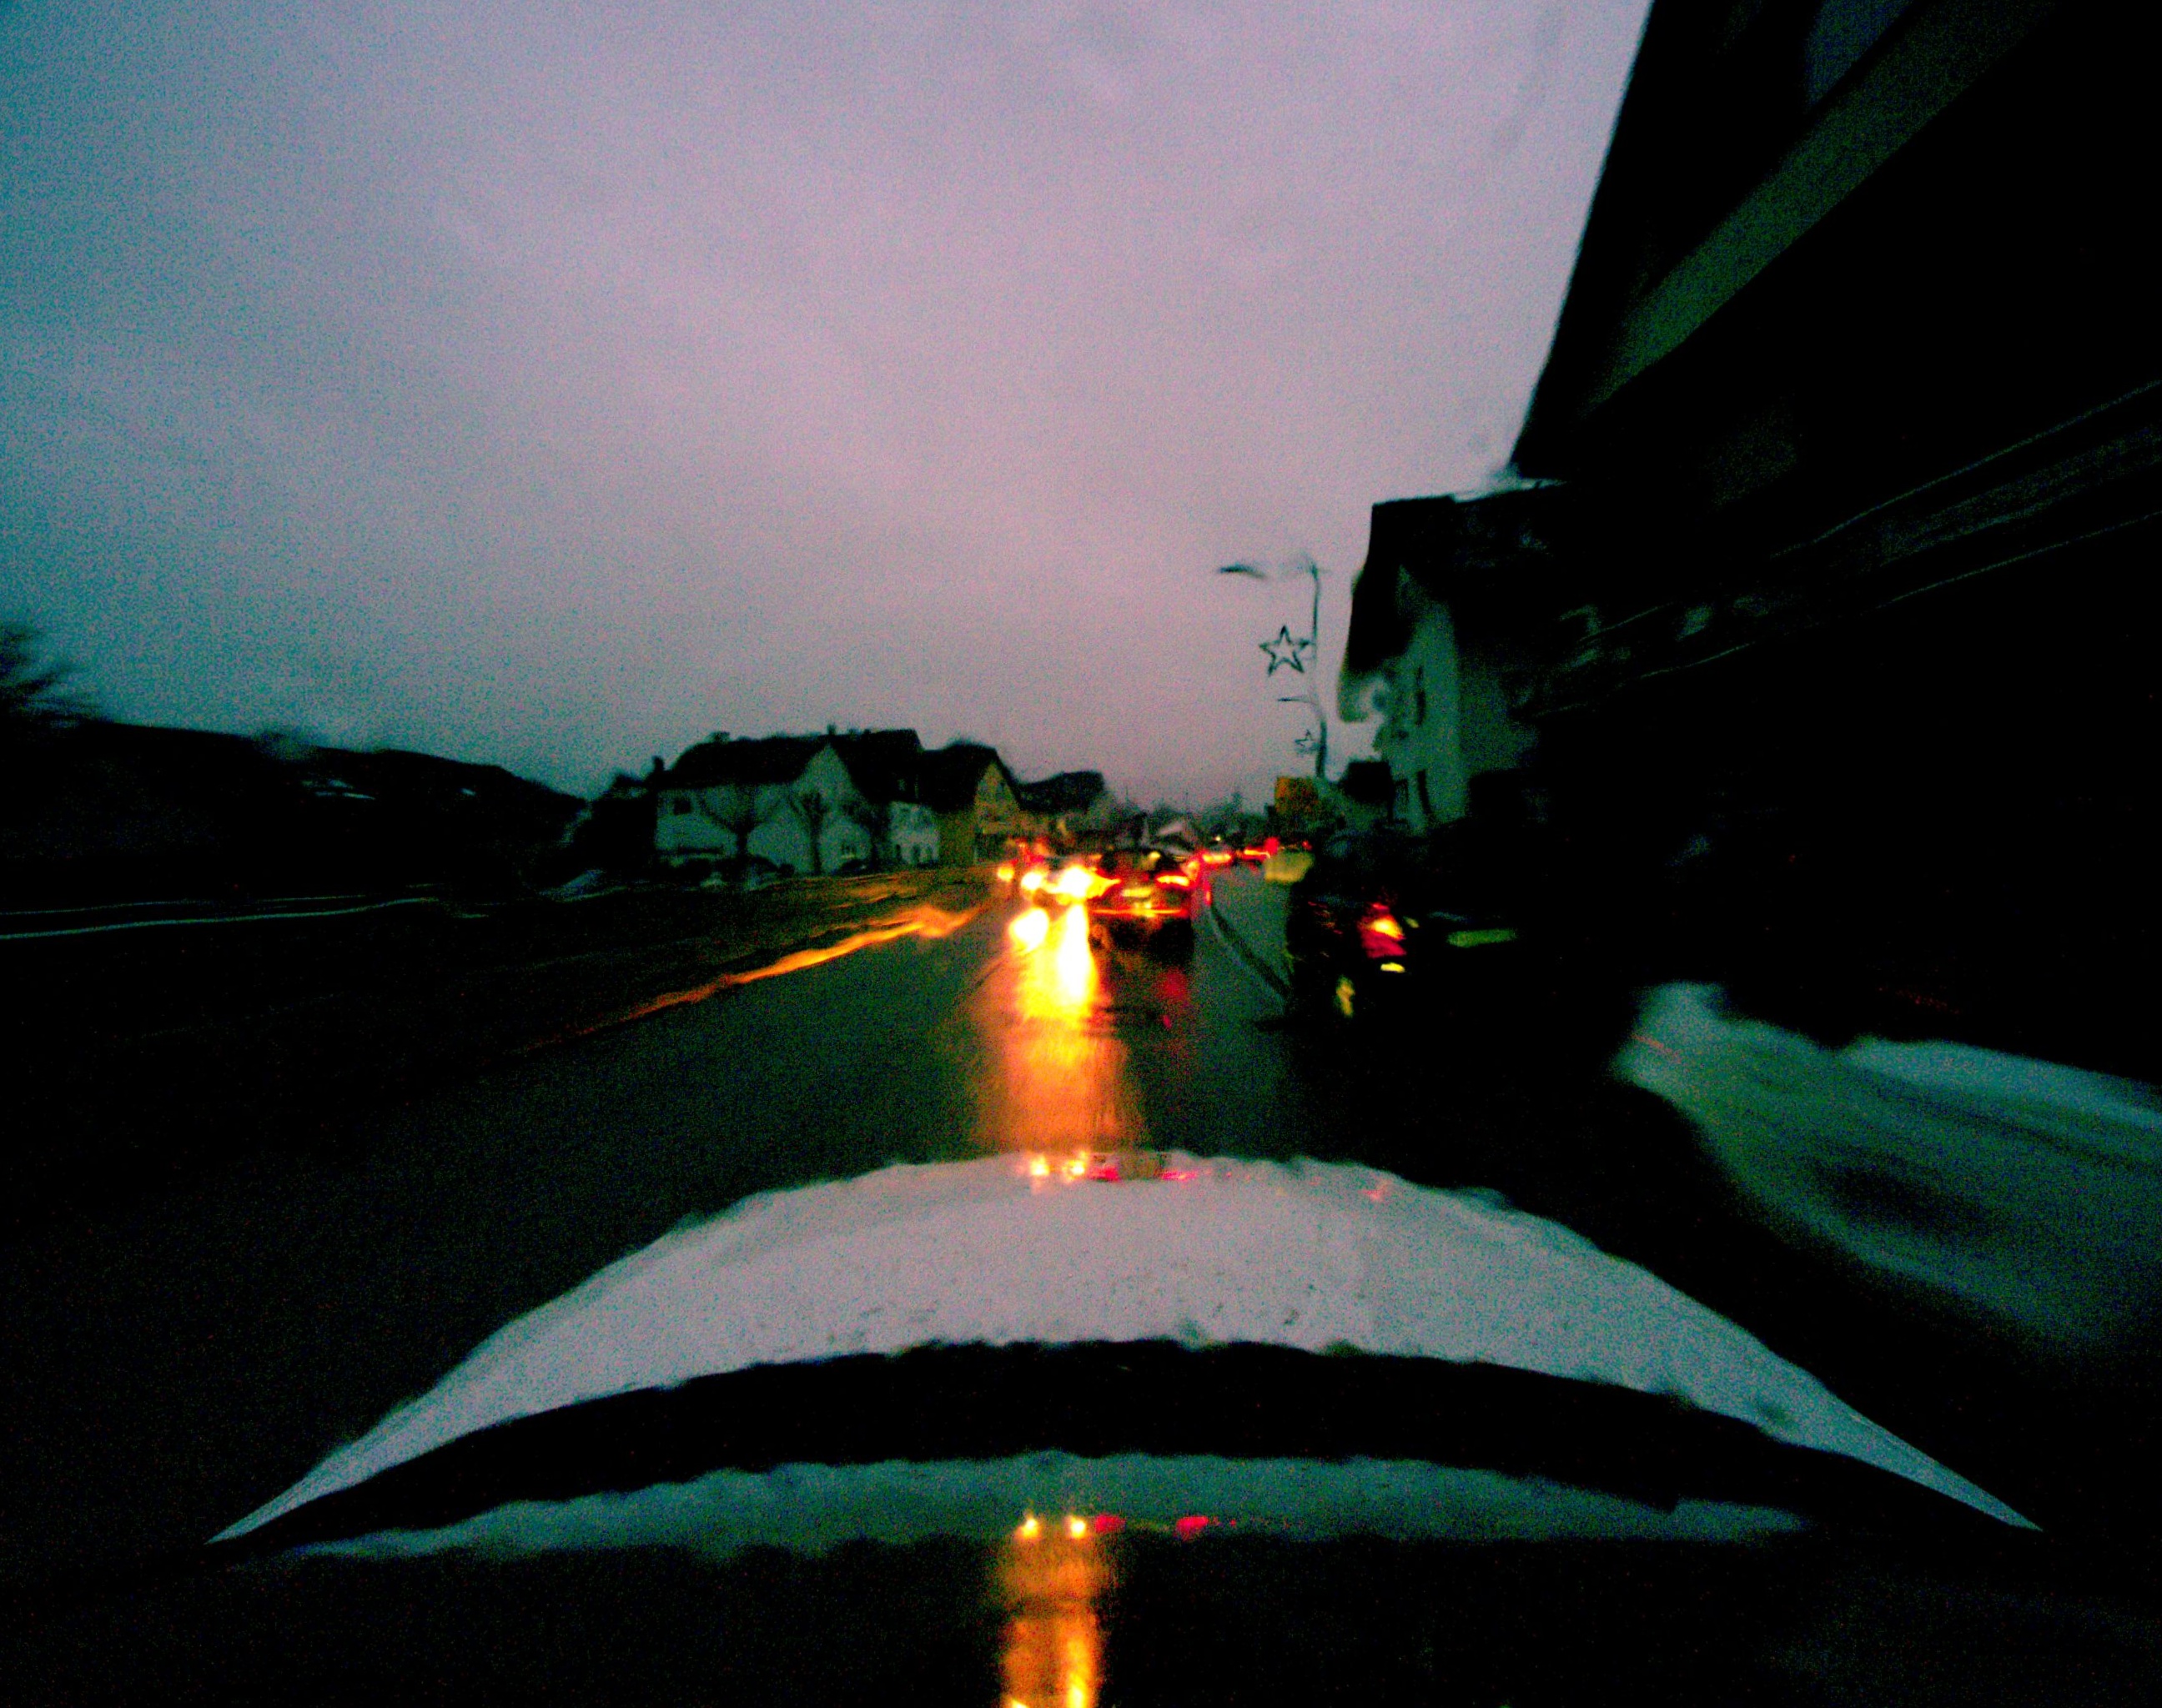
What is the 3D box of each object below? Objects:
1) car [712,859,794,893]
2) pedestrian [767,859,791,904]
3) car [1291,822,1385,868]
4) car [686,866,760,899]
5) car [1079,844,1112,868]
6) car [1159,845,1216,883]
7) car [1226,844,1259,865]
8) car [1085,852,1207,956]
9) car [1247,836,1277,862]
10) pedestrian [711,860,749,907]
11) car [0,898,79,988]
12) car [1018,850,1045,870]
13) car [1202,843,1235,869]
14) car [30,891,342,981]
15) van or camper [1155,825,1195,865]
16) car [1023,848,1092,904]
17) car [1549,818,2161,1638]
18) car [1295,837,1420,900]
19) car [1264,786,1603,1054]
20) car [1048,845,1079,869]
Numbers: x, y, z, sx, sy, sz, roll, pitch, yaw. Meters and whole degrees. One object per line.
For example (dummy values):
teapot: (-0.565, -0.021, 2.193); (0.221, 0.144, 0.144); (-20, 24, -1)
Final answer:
car: (-19.163, 1.278, 47.669); (3.965, 1.694, 1.869); (-4, 0, 8)
pedestrian: (-11.684, 1.048, 31.516); (0.659, 1.697, 0.543); (-1, 0, 12)
car: (12.991, -0.443, 41.356); (4.152, 1.639, 1.808); (-9, -1, 8)
car: (-17.020, 1.341, 38.890); (1.473, 1.427, 3.469); (-2, 0, 10)
car: (1.220, 0.143, 70.628); (2.038, 1.925, 4.042); (-3, 0, -11)
car: (4.540, 0.399, 34.137); (1.669, 1.453, 4.018); (-2, -1, 17)
car: (12.049, -0.005, 60.538); (1.978, 1.391, 4.018); (-2, 0, 16)
car: (1.095, 0.807, 15.355); (1.957, 1.594, 4.314); (-1, 1, 1)
car: (15.595, -0.414, 70.492); (2.145, 1.991, 4.511); (-6, -1, 9)
pedestrian: (-13.788, 1.165, 32.039); (0.922, 1.784, 0.976); (-1, 0, 12)
car: (-20.753, 1.741, 13.727); (1.865, 1.572, 4.509); (-4, 0, 6)
car: (-4.366, 0.503, 70.920); (1.822, 1.613, 4.042); (-3, 0, -10)
car: (8.453, 0.091, 49.888); (1.802, 1.412, 4.014); (-1, 1, 12)
car: (-20.117, 1.754, 18.686); (1.865, 1.433, 4.509); (-4, 0, 6)
van or camper: (6.920, -0.677, 59.398); (2.226, 2.669, 6.576); (-3, 0, 11)
car: (-0.685, 0.646, 26.022); (1.654, 1.635, 3.557); (-2, 0, 6)
car: (2.761, 0.661, 1.997); (1.639, 1.415, 2.729); (-5, 0, 2)
car: (7.216, 0.352, 21.687); (1.761, 1.393, 3.910); (-4, 0, -3)
car: (2.948, 0.466, 7.810); (1.760, 1.782, 4.007); (-5, 0, 6)
car: (-1.536, 0.255, 70.319); (2.038, 1.925, 4.042); (-3, 0, -11)
